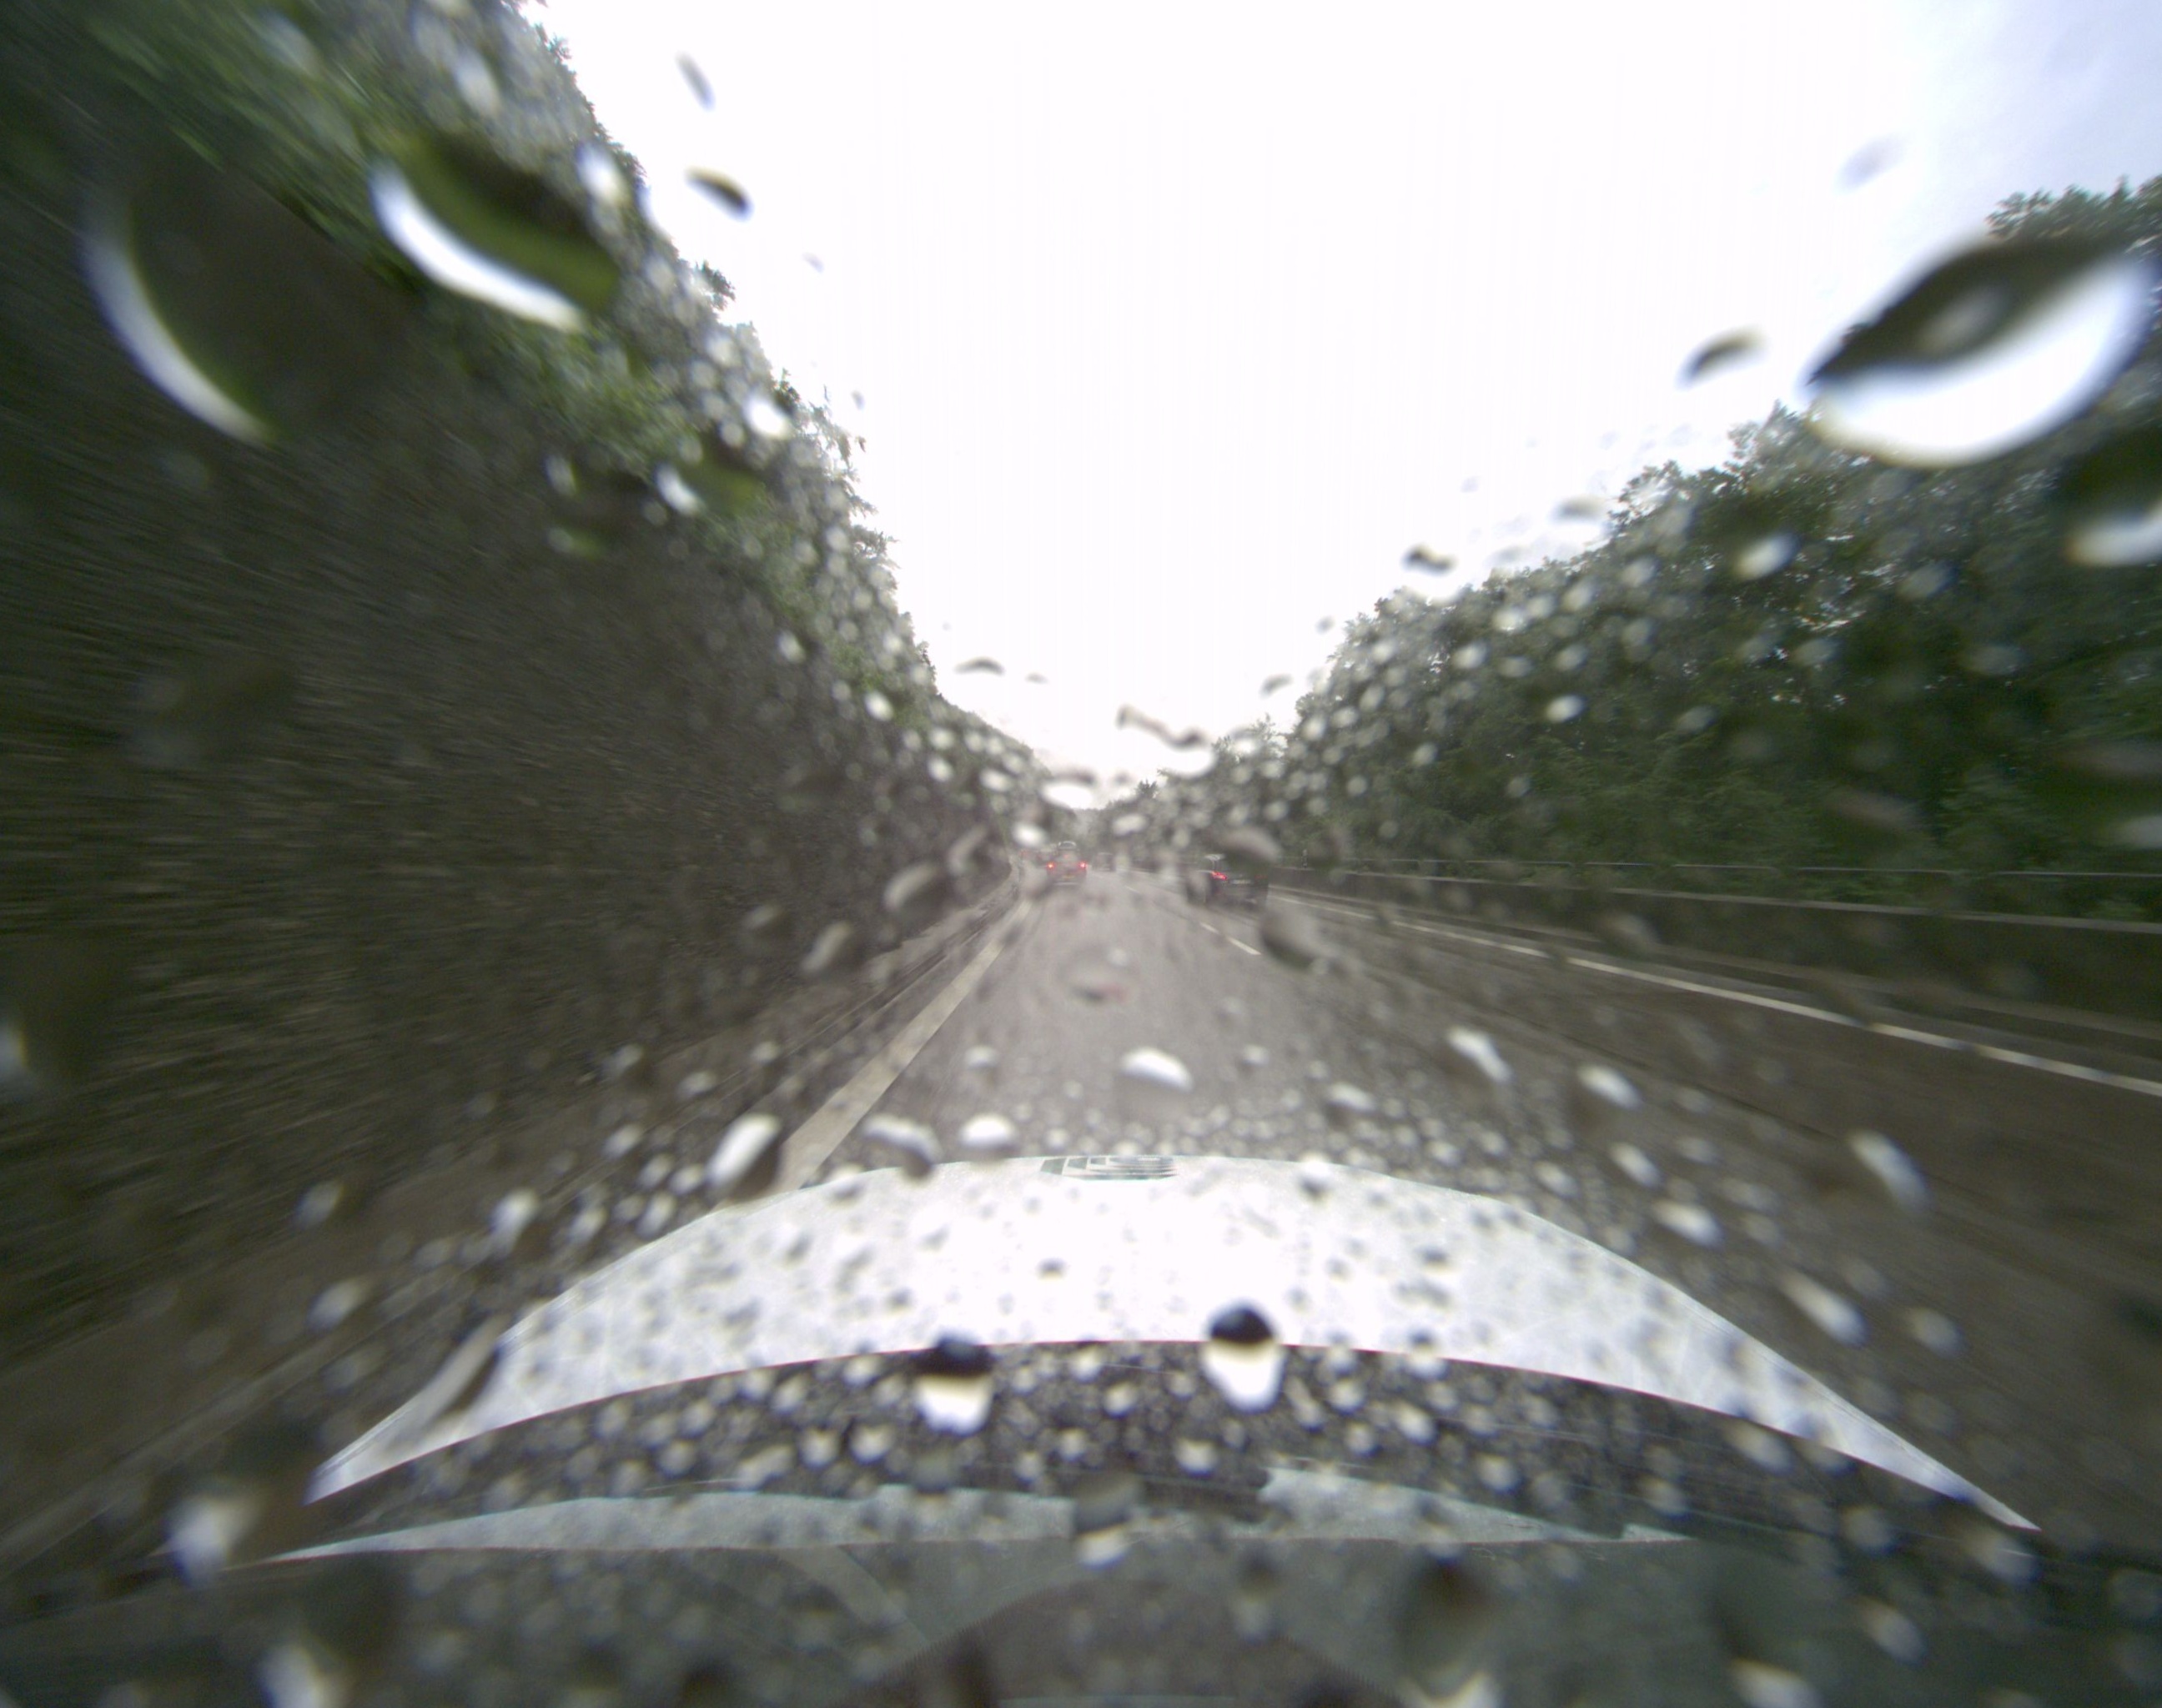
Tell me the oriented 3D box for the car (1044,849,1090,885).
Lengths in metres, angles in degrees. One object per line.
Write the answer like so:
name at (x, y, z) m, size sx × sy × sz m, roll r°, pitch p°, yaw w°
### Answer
car at (-0.705, 0.592, 37.733) m, size 1.989 × 1.552 × 3.996 m, roll -1°, pitch -1°, yaw -3°

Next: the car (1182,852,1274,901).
car at (4.254, 0.615, 24.119) m, size 1.796 × 1.307 × 3.995 m, roll -1°, pitch 0°, yaw -3°

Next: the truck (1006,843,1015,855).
truck at (-17.118, -1.189, 198.290) m, size 1.991 × 2.751 × 5.574 m, roll 1°, pitch 0°, yaw -6°

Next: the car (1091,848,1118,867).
car at (1.945, 0.295, 67.800) m, size 1.988 × 1.552 × 3.997 m, roll 0°, pitch 0°, yaw -2°

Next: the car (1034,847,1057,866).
car at (-3.221, 0.276, 73.619) m, size 1.989 × 1.684 × 3.994 m, roll 0°, pitch -1°, yaw -4°

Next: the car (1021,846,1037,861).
car at (-7.377, -0.064, 116.098) m, size 1.993 × 2.014 × 3.988 m, roll 0°, pitch -1°, yaw -8°
